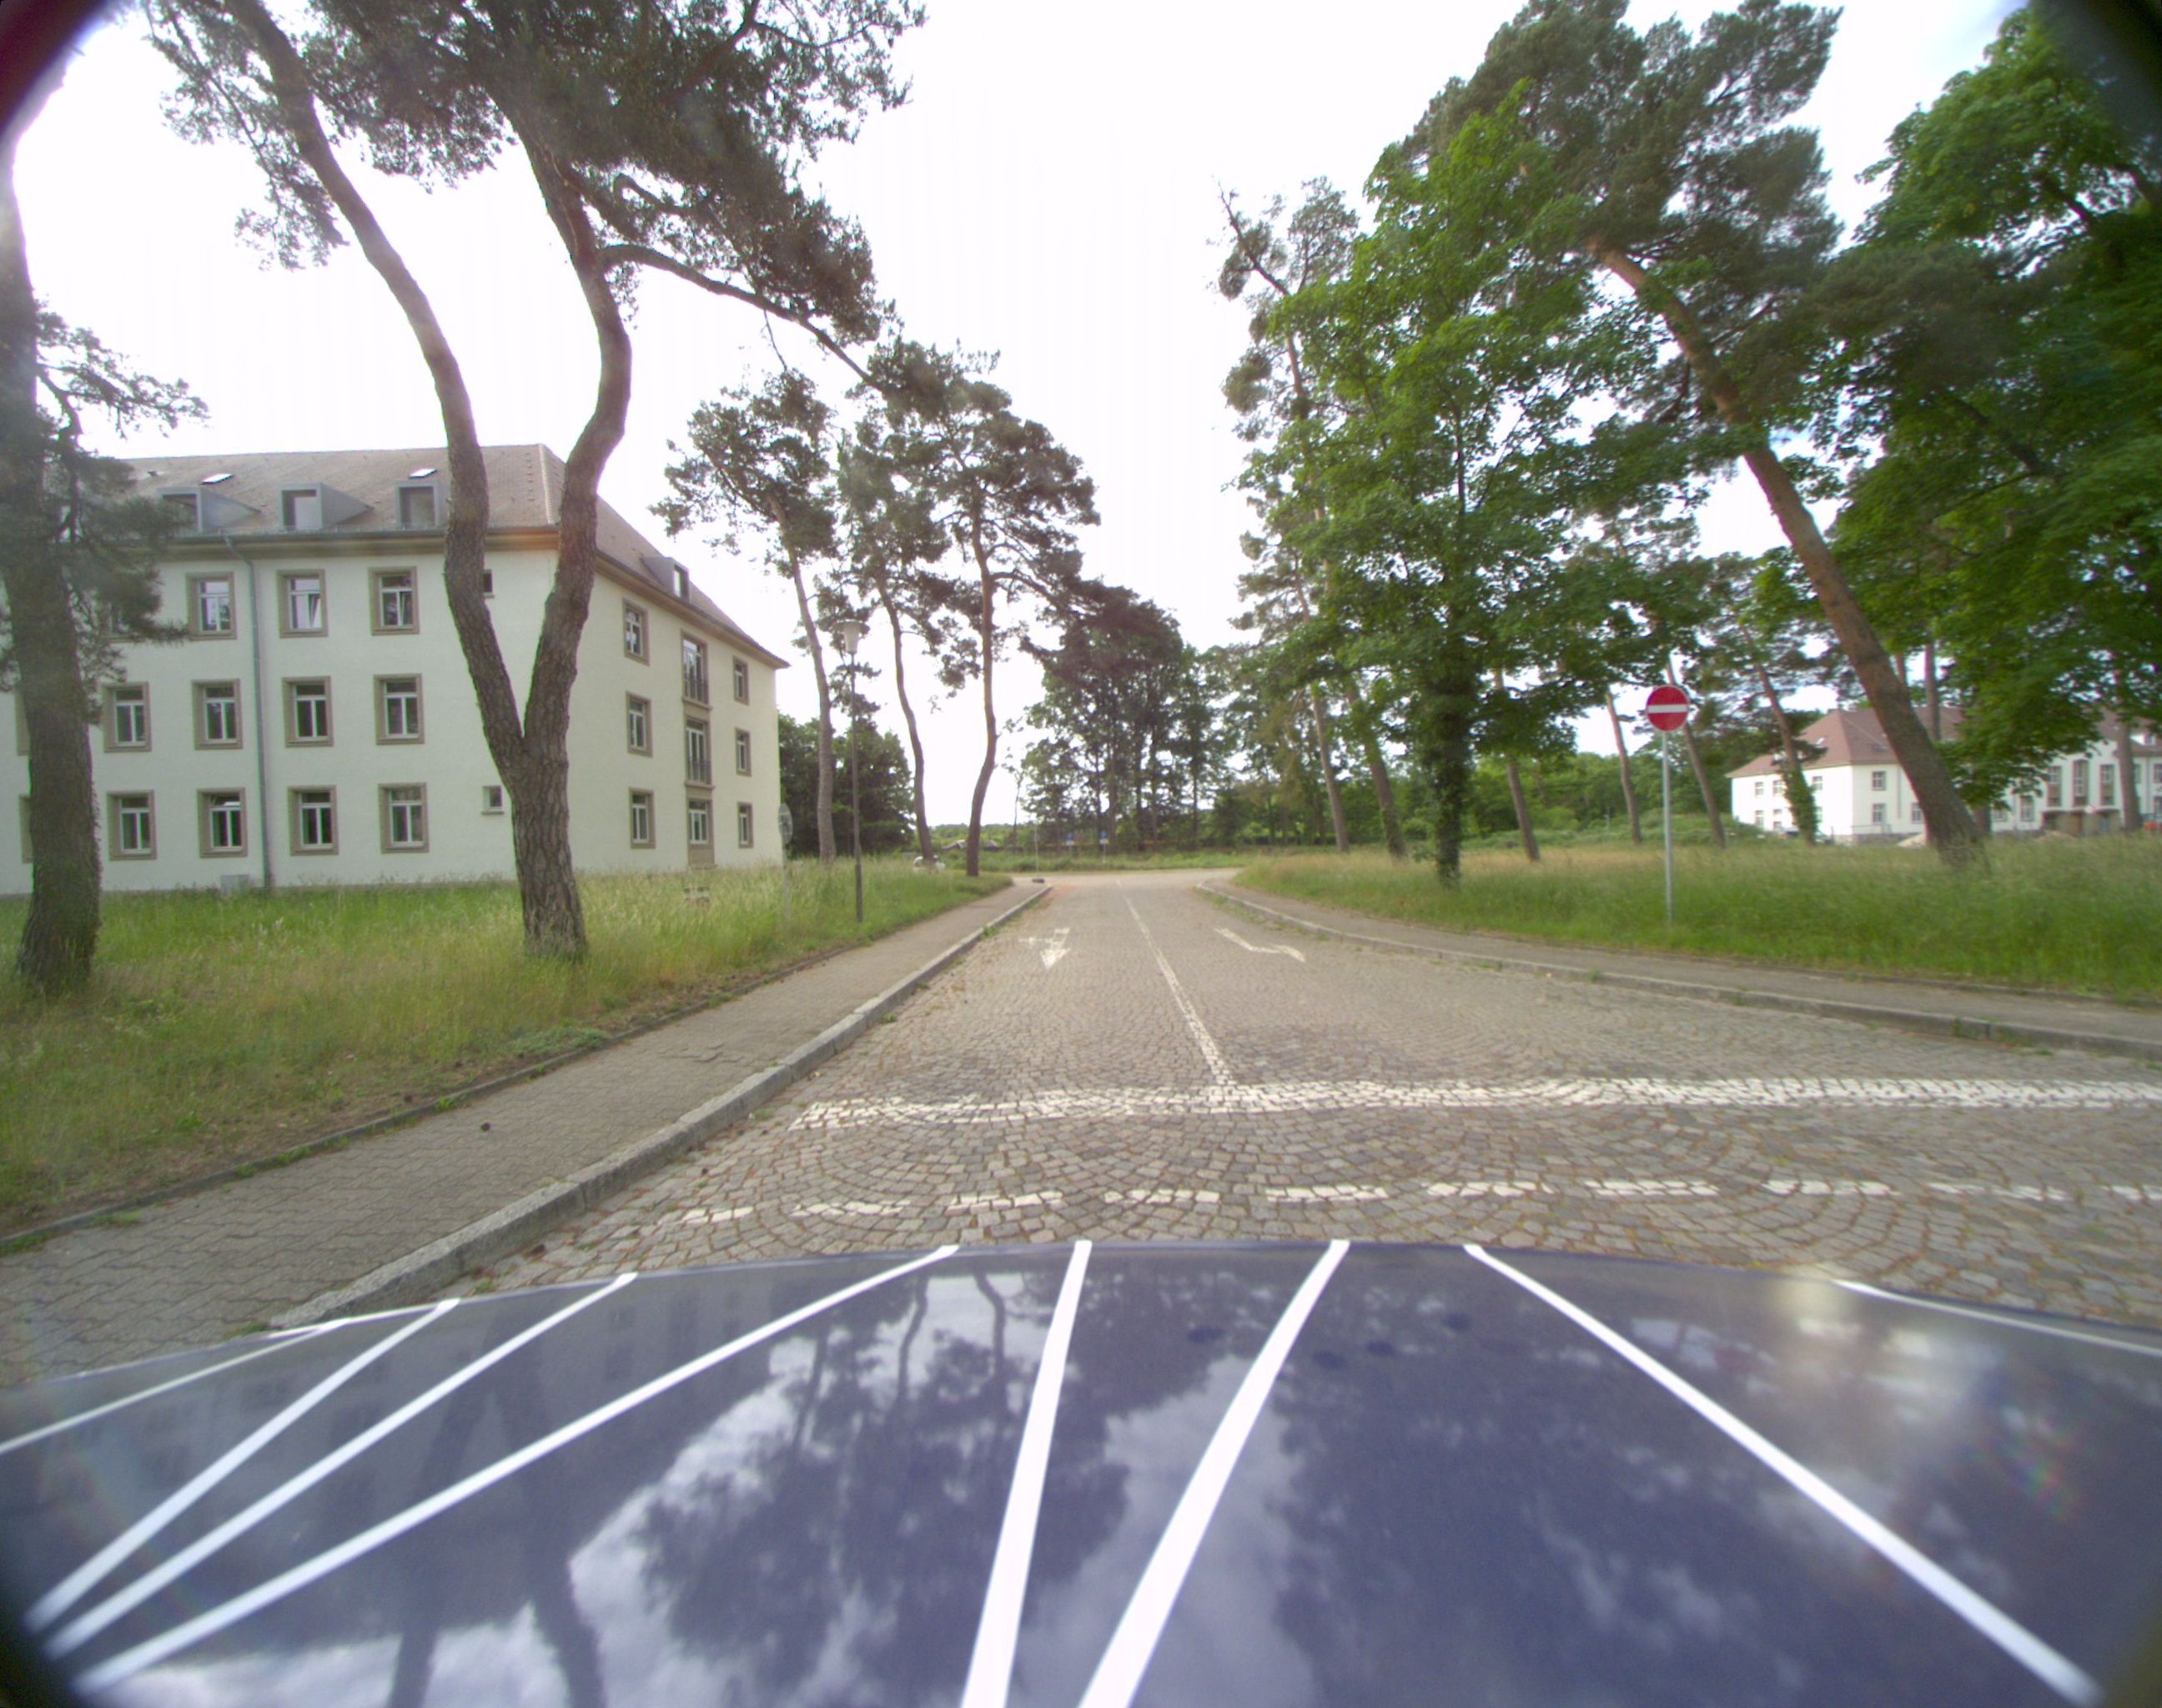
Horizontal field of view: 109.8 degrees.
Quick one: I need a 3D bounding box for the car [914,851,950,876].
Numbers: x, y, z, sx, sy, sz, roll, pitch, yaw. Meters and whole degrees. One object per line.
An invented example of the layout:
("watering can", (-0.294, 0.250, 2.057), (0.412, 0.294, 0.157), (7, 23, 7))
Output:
("car", (-10.243, 0.638, 52.351), (1.640, 1.426, 3.277), (-2, 3, 2))
